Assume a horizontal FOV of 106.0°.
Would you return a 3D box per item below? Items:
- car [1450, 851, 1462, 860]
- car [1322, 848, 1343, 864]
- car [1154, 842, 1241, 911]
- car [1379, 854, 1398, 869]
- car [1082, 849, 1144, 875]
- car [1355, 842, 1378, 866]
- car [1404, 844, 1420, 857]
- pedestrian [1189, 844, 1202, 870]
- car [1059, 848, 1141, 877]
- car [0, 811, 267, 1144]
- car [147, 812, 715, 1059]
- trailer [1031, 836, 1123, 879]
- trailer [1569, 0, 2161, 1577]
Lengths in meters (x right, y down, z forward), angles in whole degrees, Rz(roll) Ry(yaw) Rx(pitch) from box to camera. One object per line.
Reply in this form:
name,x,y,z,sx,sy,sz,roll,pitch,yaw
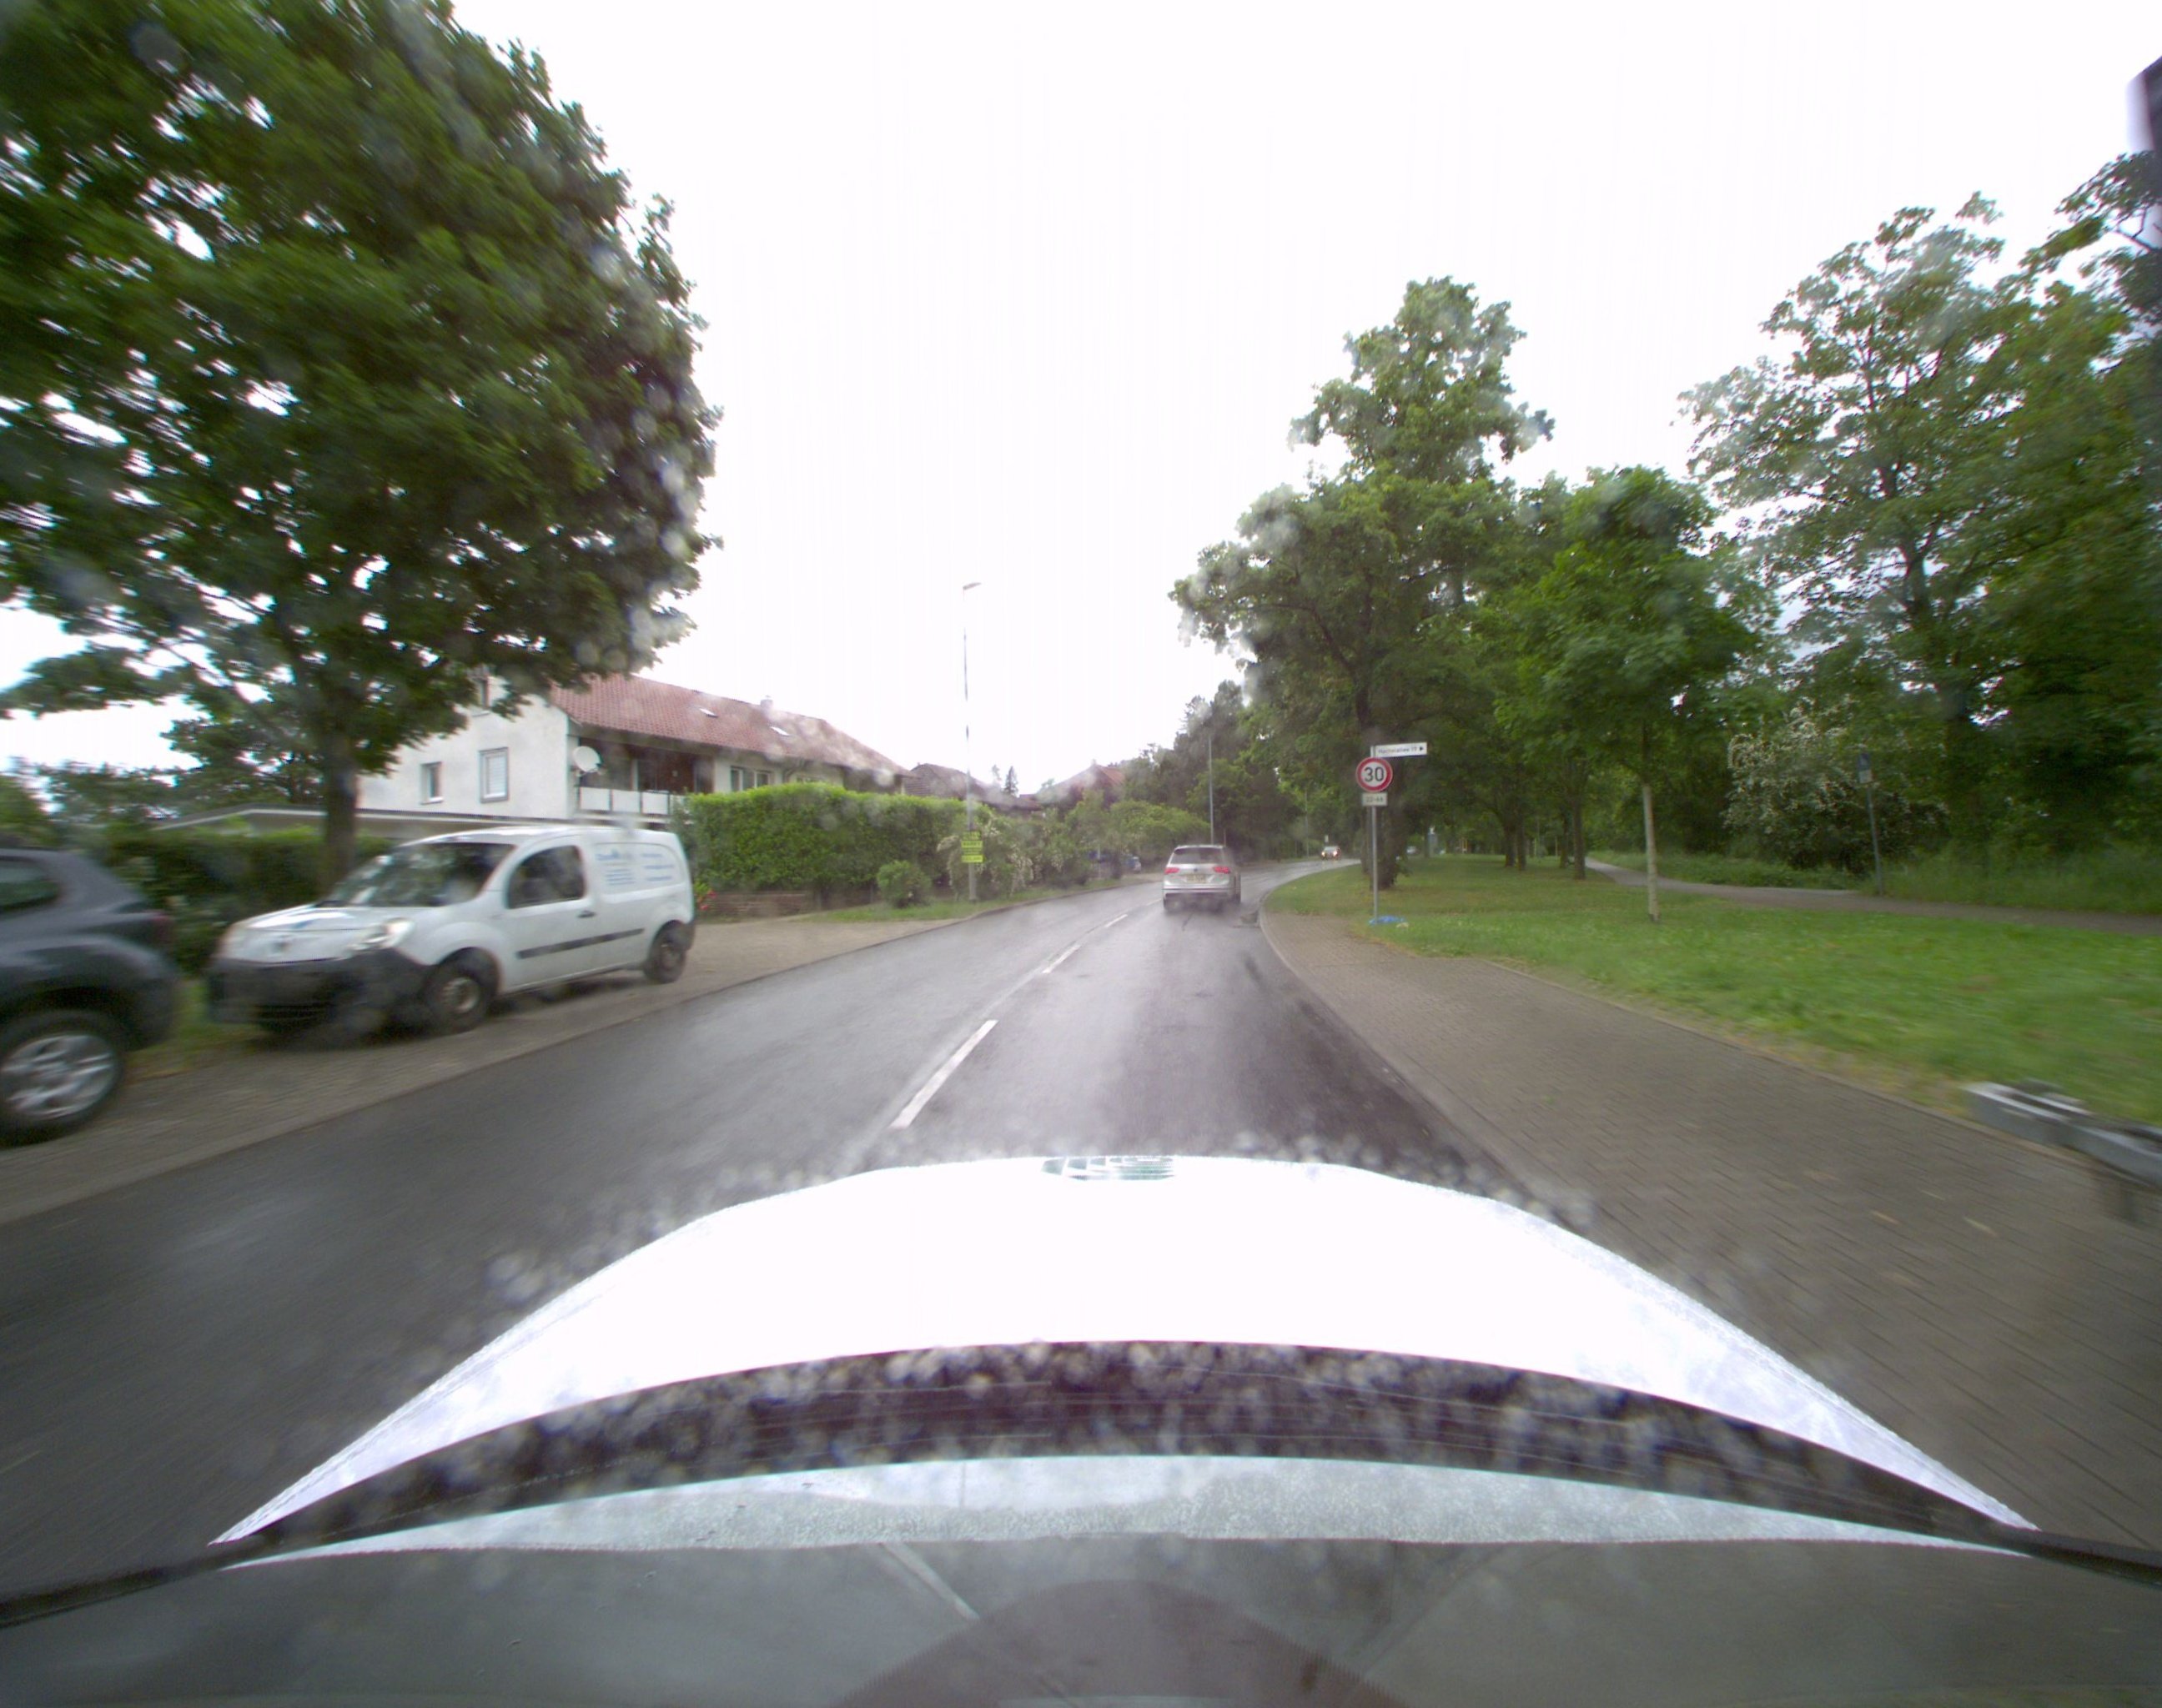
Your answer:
car,68.669,0.220,149.192,1.410,1.570,3.445,1,-1,17
car,25.581,0.152,82.836,1.569,1.477,3.918,-3,0,24
car,3.213,0.547,21.812,1.960,1.653,4.191,-1,0,12
car,36.947,0.914,97.773,1.976,1.759,4.022,0,-1,23
car,1.995,0.483,50.238,3.374,1.519,1.740,-1,0,21
car,25.508,0.015,72.635,1.885,2.014,3.963,0,-1,19
car,48.434,-0.453,119.124,1.976,1.804,4.022,0,-1,23
pedestrian,7.538,0.197,53.788,0.772,1.661,0.846,-1,0,10
car,1.111,0.491,47.091,4.201,1.539,2.063,-1,0,21
car,-6.219,0.586,2.980,1.744,1.640,4.593,1,-1,1
car,-5.850,0.602,8.222,1.788,1.795,4.383,0,0,9
trailer,-0.225,0.198,43.963,4.580,2.171,1.824,-1,0,21
trailer,2.848,-0.118,0.212,1.986,2.808,5.612,-7,0,3
